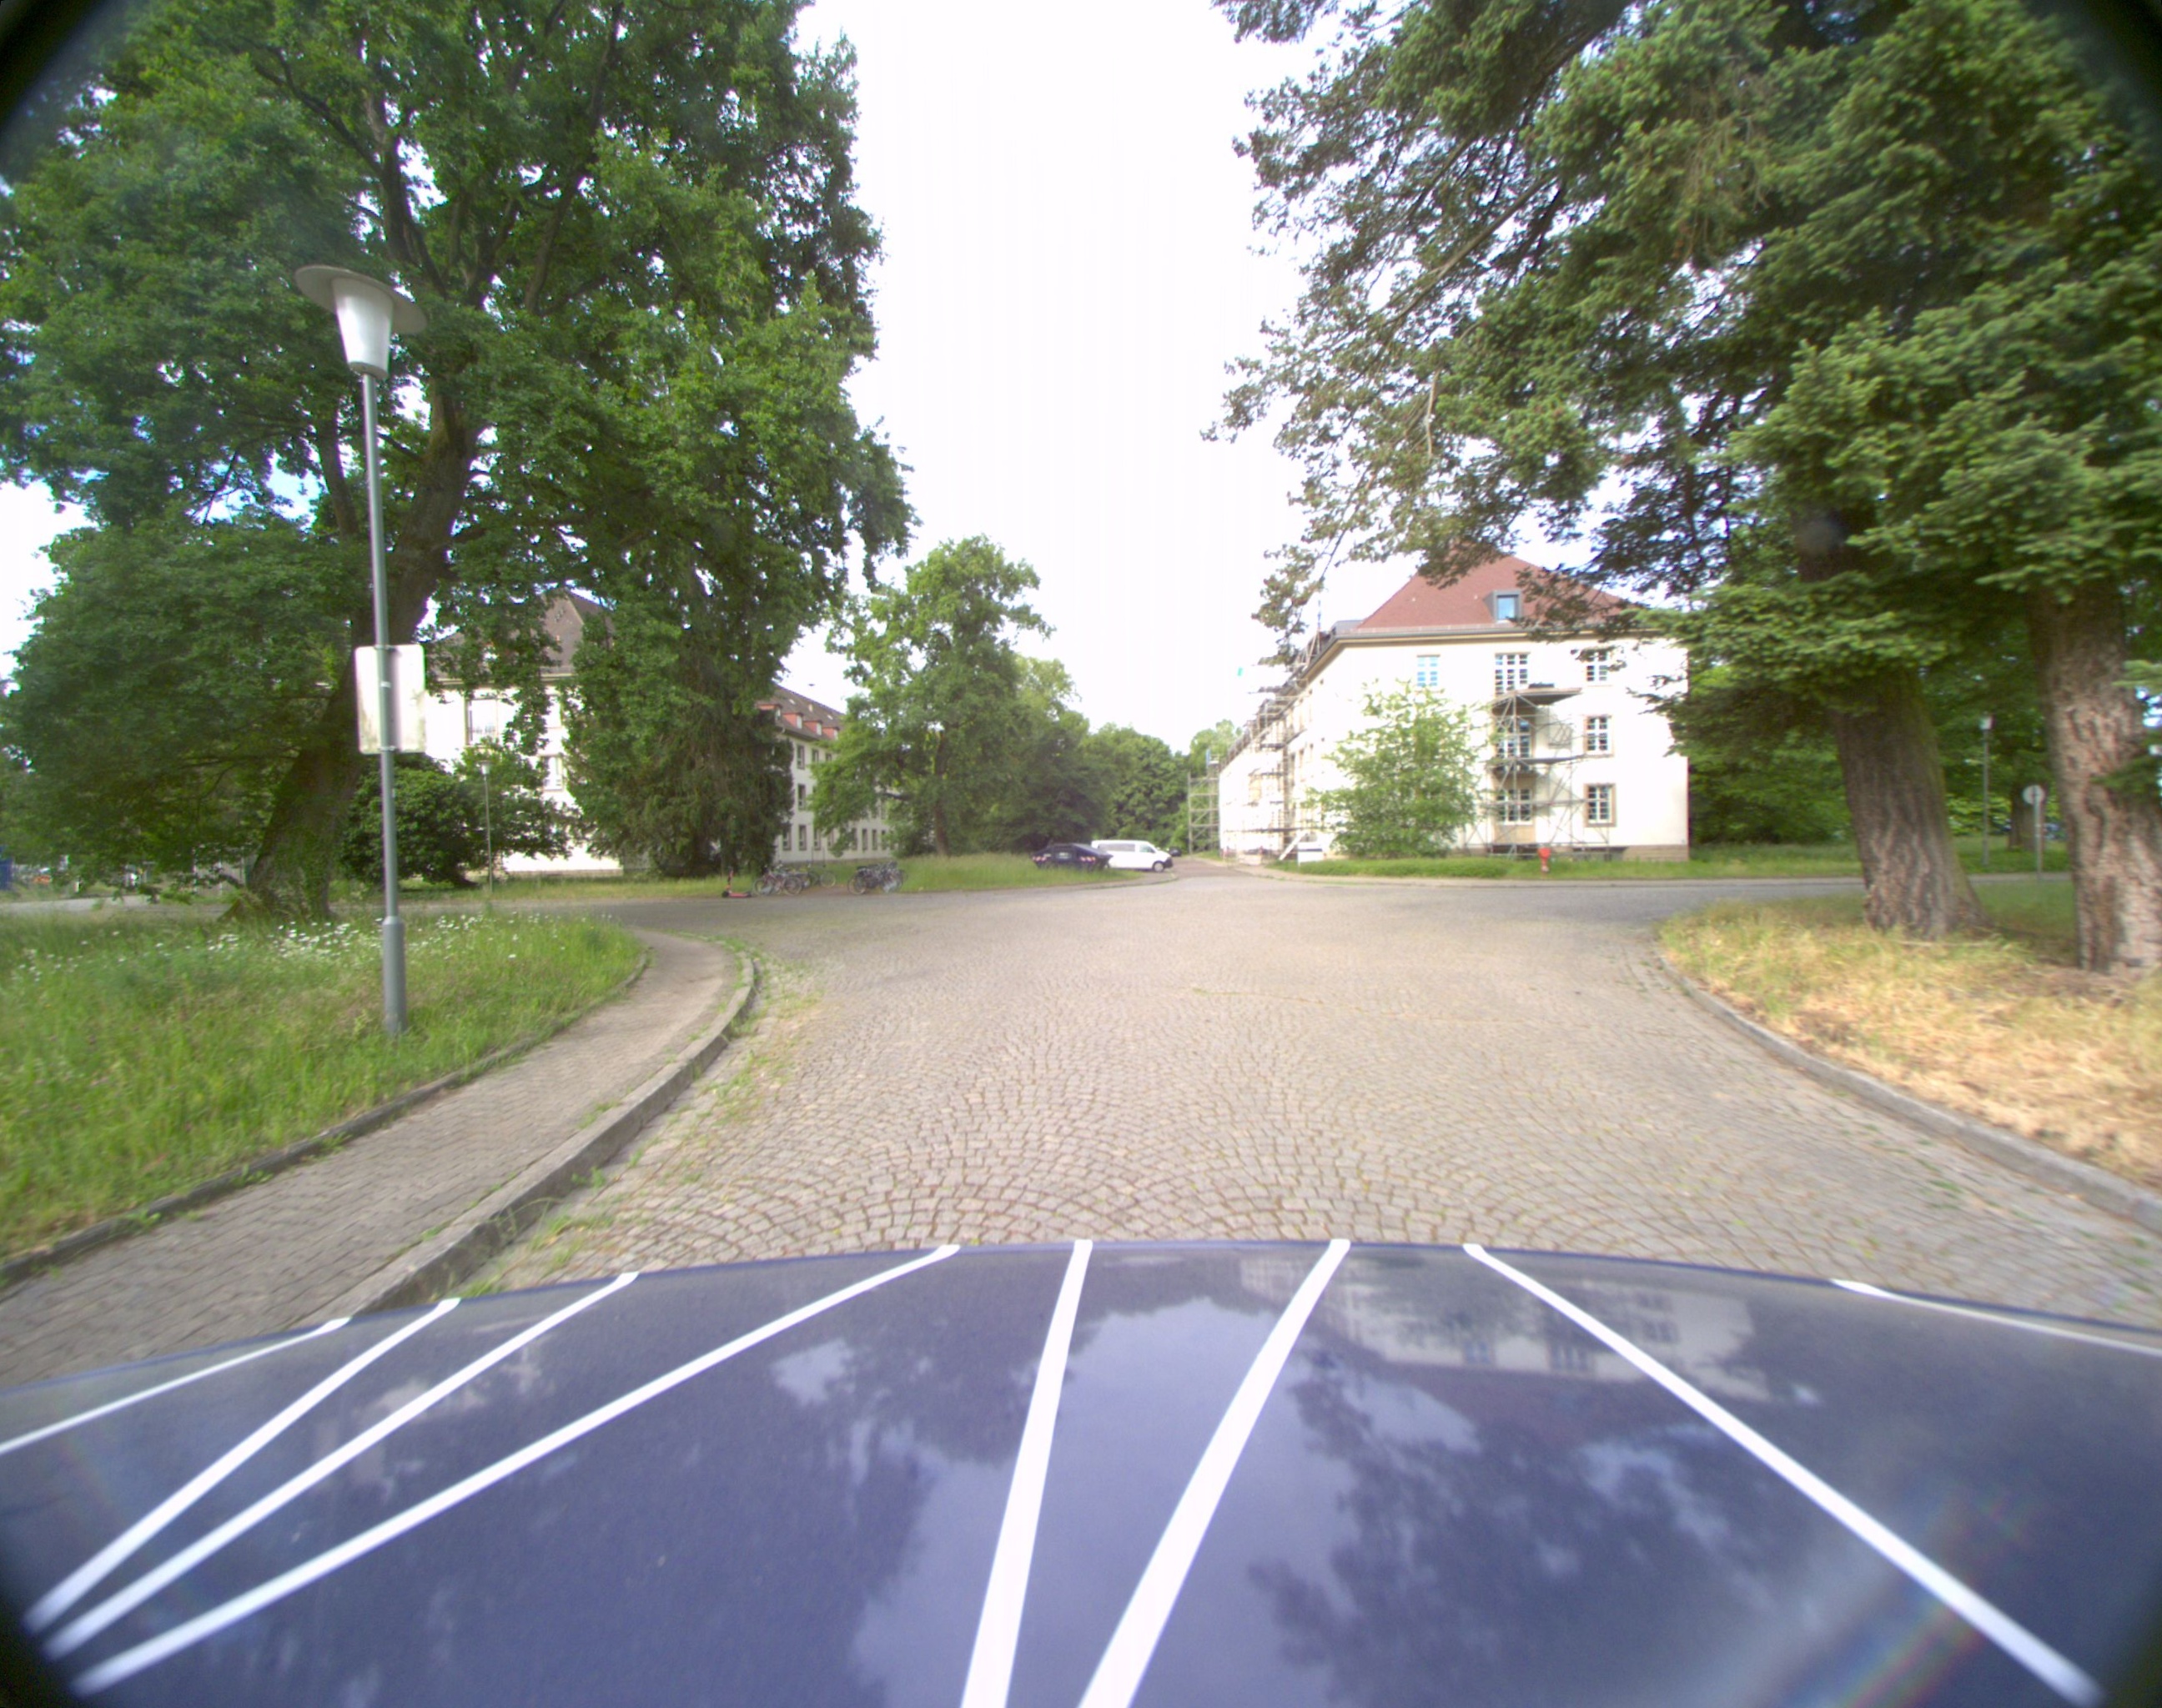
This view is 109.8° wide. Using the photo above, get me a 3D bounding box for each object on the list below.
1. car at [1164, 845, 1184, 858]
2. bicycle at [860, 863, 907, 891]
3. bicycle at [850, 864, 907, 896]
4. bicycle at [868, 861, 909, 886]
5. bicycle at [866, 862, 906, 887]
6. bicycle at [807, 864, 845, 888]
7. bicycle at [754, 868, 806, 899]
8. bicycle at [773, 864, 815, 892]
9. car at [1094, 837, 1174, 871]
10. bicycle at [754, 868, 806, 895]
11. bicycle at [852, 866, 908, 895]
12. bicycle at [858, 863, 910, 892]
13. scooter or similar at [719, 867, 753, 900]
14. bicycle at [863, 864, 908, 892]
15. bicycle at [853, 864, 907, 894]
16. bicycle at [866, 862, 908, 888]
[{"bbox_3d":[13.891,-0.368,113.514,2.028,1.915,3.997,-1,1,-6],"label":"car"},{"bbox_3d":[-8.356,0.963,32.128,1.867,1.082,0.519,-1,3,-17],"label":"bicycle"},{"bbox_3d":[-7.559,0.961,28.350,2.019,1.082,0.478,-1,3,-17],"label":"bicycle"},{"bbox_3d":[-9.012,0.923,35.539,1.827,1.082,0.552,-1,3,-17],"label":"bicycle"},{"bbox_3d":[-8.911,0.936,34.752,1.752,1.082,0.552,-1,3,-17],"label":"bicycle"},{"bbox_3d":[-11.256,0.959,33.595,1.567,1.028,0.476,-1,1,-19],"label":"bicycle"},{"bbox_3d":[-11.454,1.106,28.955,1.815,1.082,0.478,-1,3,-22],"label":"bicycle"},{"bbox_3d":[-11.797,0.973,31.240,1.568,1.082,0.561,-1,1,-26],"label":"bicycle"},{"bbox_3d":[3.294,-0.011,47.824,4.914,1.983,2.000,-1,1,2],"label":"car"},{"bbox_3d":[-11.666,1.066,29.470,1.858,0.984,0.455,-1,1,-22],"label":"bicycle"},{"bbox_3d":[-7.627,1.007,28.840,2.019,1.004,0.478,-1,3,-17],"label":"bicycle"},{"bbox_3d":[-7.922,0.939,30.577,2.019,1.082,0.478,-1,3,-17],"label":"bicycle"},{"bbox_3d":[-12.847,1.093,28.285,1.062,1.188,0.385,-1,1,8],"label":"scooter or similar"},{"bbox_3d":[-8.079,0.970,31.382,1.790,1.082,0.478,-1,3,-17],"label":"bicycle"},{"bbox_3d":[-7.909,0.963,29.936,2.019,1.082,0.478,-1,3,-17],"label":"bicycle"},{"bbox_3d":[-8.688,0.942,34.003,1.809,1.082,0.552,-1,3,-17],"label":"bicycle"}]
